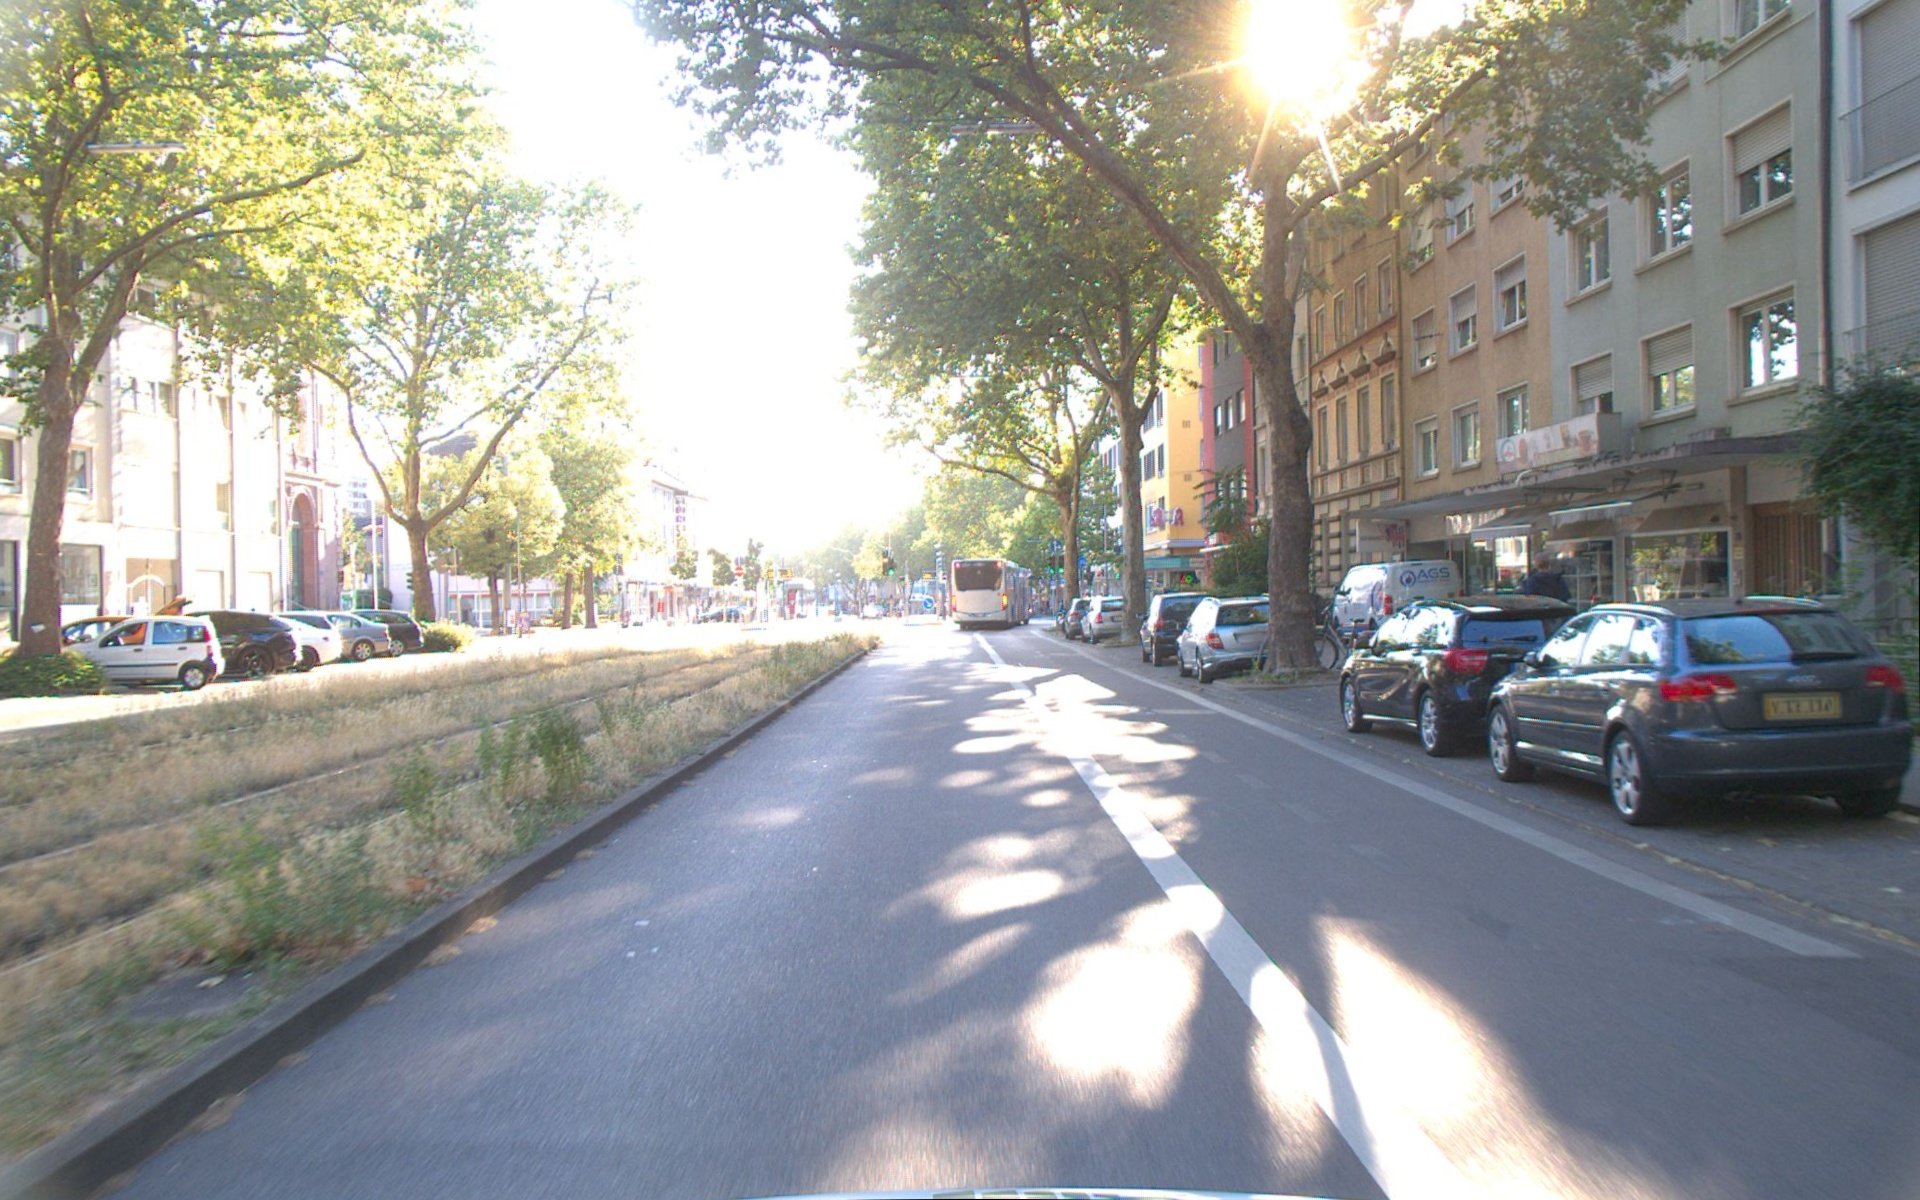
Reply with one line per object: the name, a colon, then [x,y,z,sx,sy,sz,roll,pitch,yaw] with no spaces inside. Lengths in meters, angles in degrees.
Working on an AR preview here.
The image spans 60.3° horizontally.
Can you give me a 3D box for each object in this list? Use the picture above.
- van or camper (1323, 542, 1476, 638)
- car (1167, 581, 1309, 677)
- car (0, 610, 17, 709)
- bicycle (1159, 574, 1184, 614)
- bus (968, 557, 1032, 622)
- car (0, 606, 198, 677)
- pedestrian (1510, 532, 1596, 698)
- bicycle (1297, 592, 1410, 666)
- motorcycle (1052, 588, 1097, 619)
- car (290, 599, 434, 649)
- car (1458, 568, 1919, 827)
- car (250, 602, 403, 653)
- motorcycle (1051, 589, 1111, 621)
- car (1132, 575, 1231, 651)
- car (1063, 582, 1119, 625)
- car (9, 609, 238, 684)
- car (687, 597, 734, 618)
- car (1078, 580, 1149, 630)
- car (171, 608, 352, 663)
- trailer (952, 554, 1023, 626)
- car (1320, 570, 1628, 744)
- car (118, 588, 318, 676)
van or camper: [9.900,-0.244,37.711,1.902,1.956,5.390,-2,1,-1]
car: [4.964,0.457,30.138,1.660,1.569,4.776,-2,1,-1]
car: [-18.467,1.056,28.095,3.966,1.689,1.970,-1,1,-42]
bicycle: [7.767,-0.215,60.817,0.594,1.451,2.396,1,0,0]
bus: [2.152,-0.525,86.151,2.753,3.156,9.099,1,0,5]
car: [-19.325,0.906,37.055,3.929,1.505,1.766,0,0,-21]
pedestrian: [7.548,0.185,21.091,0.669,2.049,1.012,-1,0,-1]
bicycle: [6.396,0.452,26.981,0.758,1.151,2.069,1,0,-21]
motorcycle: [4.615,0.146,66.472,1.982,1.172,0.592,-2,1,-43]
car: [-19.054,0.746,52.754,3.968,1.505,1.789,0,0,-43]
car: [5.182,0.564,12.049,1.674,1.439,4.363,-4,0,-1]
car: [-18.983,0.807,49.638,3.965,1.466,1.696,0,0,-42]
motorcycle: [4.710,0.181,64.297,2.176,1.081,0.762,-4,1,-23]
car: [5.018,0.263,37.893,1.620,1.572,3.999,-2,1,-1]
car: [4.627,0.091,58.950,1.675,1.421,4.322,-2,1,1]
car: [-17.886,0.955,35.523,4.298,1.474,1.644,-1,0,-27]
car: [-23.306,0.700,154.478,3.939,1.847,1.983,-2,0,-26]
car: [4.828,0.125,52.685,1.640,1.477,4.569,-2,1,-2]
car: [-18.459,0.912,43.807,4.160,1.356,1.700,0,0,-37]
trailer: [1.382,-0.456,77.229,2.753,3.165,8.799,1,0,5]
car: [5.062,0.494,16.938,1.674,1.439,4.363,-4,0,-1]
car: [-18.180,0.769,40.579,4.298,1.817,1.977,-4,0,-27]
